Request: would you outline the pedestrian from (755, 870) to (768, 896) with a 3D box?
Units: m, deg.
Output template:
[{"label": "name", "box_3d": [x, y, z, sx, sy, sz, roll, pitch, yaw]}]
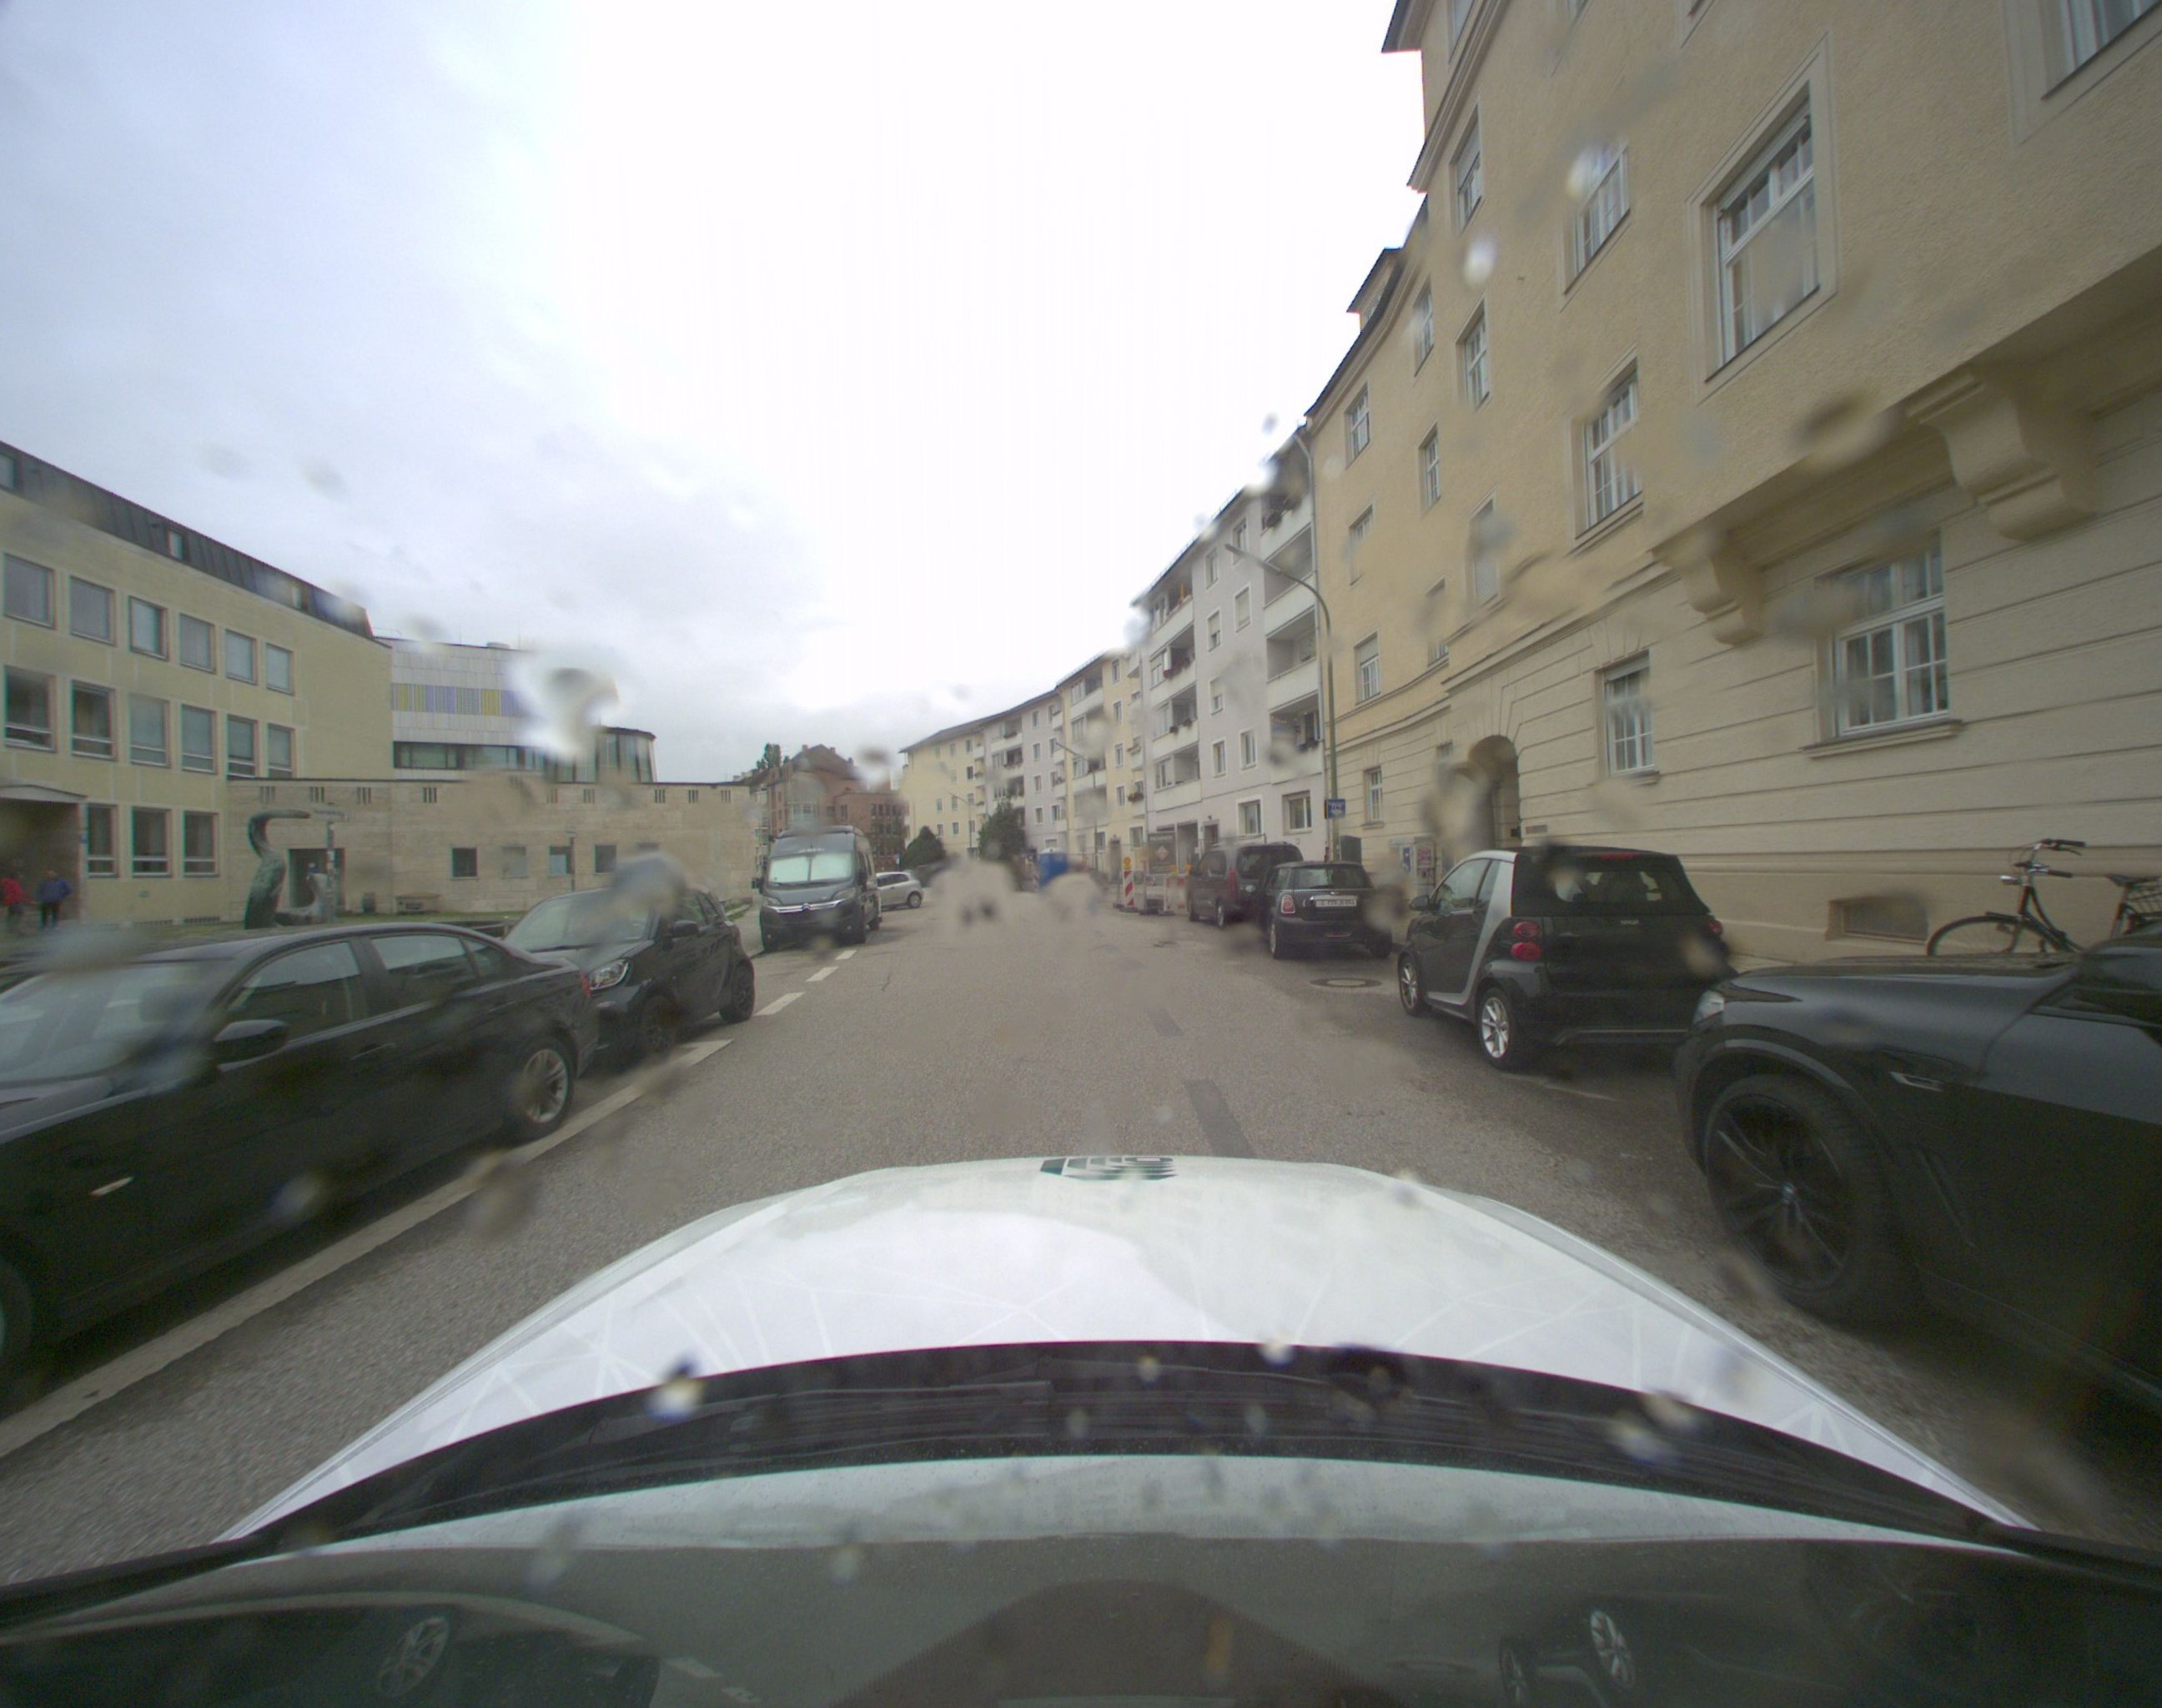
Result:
[{"label": "pedestrian", "box_3d": [-21.478, 1.916, 54.824, 0.797, 1.740, 0.815, 0, -1, -21]}]

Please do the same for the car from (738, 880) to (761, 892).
[{"label": "car", "box_3d": [-48.164, 4.617, 118.341, 1.846, 1.602, 4.215, 1, -1, -41]}]

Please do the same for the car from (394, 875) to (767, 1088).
[{"label": "car", "box_3d": [-4.367, 1.006, 7.644, 1.662, 1.460, 2.866, -4, -1, -1]}]

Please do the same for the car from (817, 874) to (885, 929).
[{"label": "car", "box_3d": [-7.299, 1.442, 26.026, 1.831, 1.387, 4.120, -6, 0, -15]}]

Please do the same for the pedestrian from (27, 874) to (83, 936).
[{"label": "pedestrian", "box_3d": [-29.486, 1.463, 23.420, 0.715, 1.744, 0.643, 0, -1, -16]}]

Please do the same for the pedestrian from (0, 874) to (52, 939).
[{"label": "pedestrian", "box_3d": [-29.209, 1.432, 22.478, 0.715, 1.744, 0.643, 0, -1, -16]}]

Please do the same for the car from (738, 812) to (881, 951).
[{"label": "car", "box_3d": [-6.002, 0.578, 18.876, 2.144, 2.574, 6.188, -3, -1, -10]}]

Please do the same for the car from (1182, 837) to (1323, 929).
[{"label": "car", "box_3d": [3.633, 0.606, 18.105, 1.834, 1.799, 4.228, 0, -1, -6]}]

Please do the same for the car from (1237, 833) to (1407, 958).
[{"label": "car", "box_3d": [3.715, 0.610, 13.221, 1.829, 1.730, 3.733, 0, -1, 3]}]

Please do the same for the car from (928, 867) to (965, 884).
[{"label": "car", "box_3d": [-11.335, 1.812, 68.498, 1.670, 1.349, 3.763, 1, -3, -34]}]

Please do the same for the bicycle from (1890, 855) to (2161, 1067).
[{"label": "bicycle", "box_3d": [6.756, 0.637, 5.142, 0.699, 1.246, 2.646, -2, -1, 2]}]

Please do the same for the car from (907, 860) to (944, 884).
[{"label": "car", "box_3d": [-13.891, 1.579, 72.524, 1.759, 2.082, 4.471, 1, -1, -31]}]

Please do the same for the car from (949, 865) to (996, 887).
[{"label": "car", "box_3d": [-8.620, 1.728, 64.172, 2.039, 1.678, 4.566, 0, -1, -31]}]

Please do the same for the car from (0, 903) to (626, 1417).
[{"label": "car", "box_3d": [-4.096, 1.057, 3.681, 1.717, 1.364, 4.209, -5, -1, -2]}]

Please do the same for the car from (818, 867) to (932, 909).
[{"label": "car", "box_3d": [-7.873, 1.262, 31.390, 1.654, 1.530, 4.007, -1, -2, 43]}]

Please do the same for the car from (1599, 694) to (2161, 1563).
[{"label": "car", "box_3d": [3.083, 0.546, 1.162, 1.919, 1.730, 4.691, 0, 0, 3]}]

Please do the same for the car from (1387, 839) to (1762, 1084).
[{"label": "car", "box_3d": [3.696, 0.710, 6.669, 1.500, 1.557, 2.866, 0, -1, 5]}]
